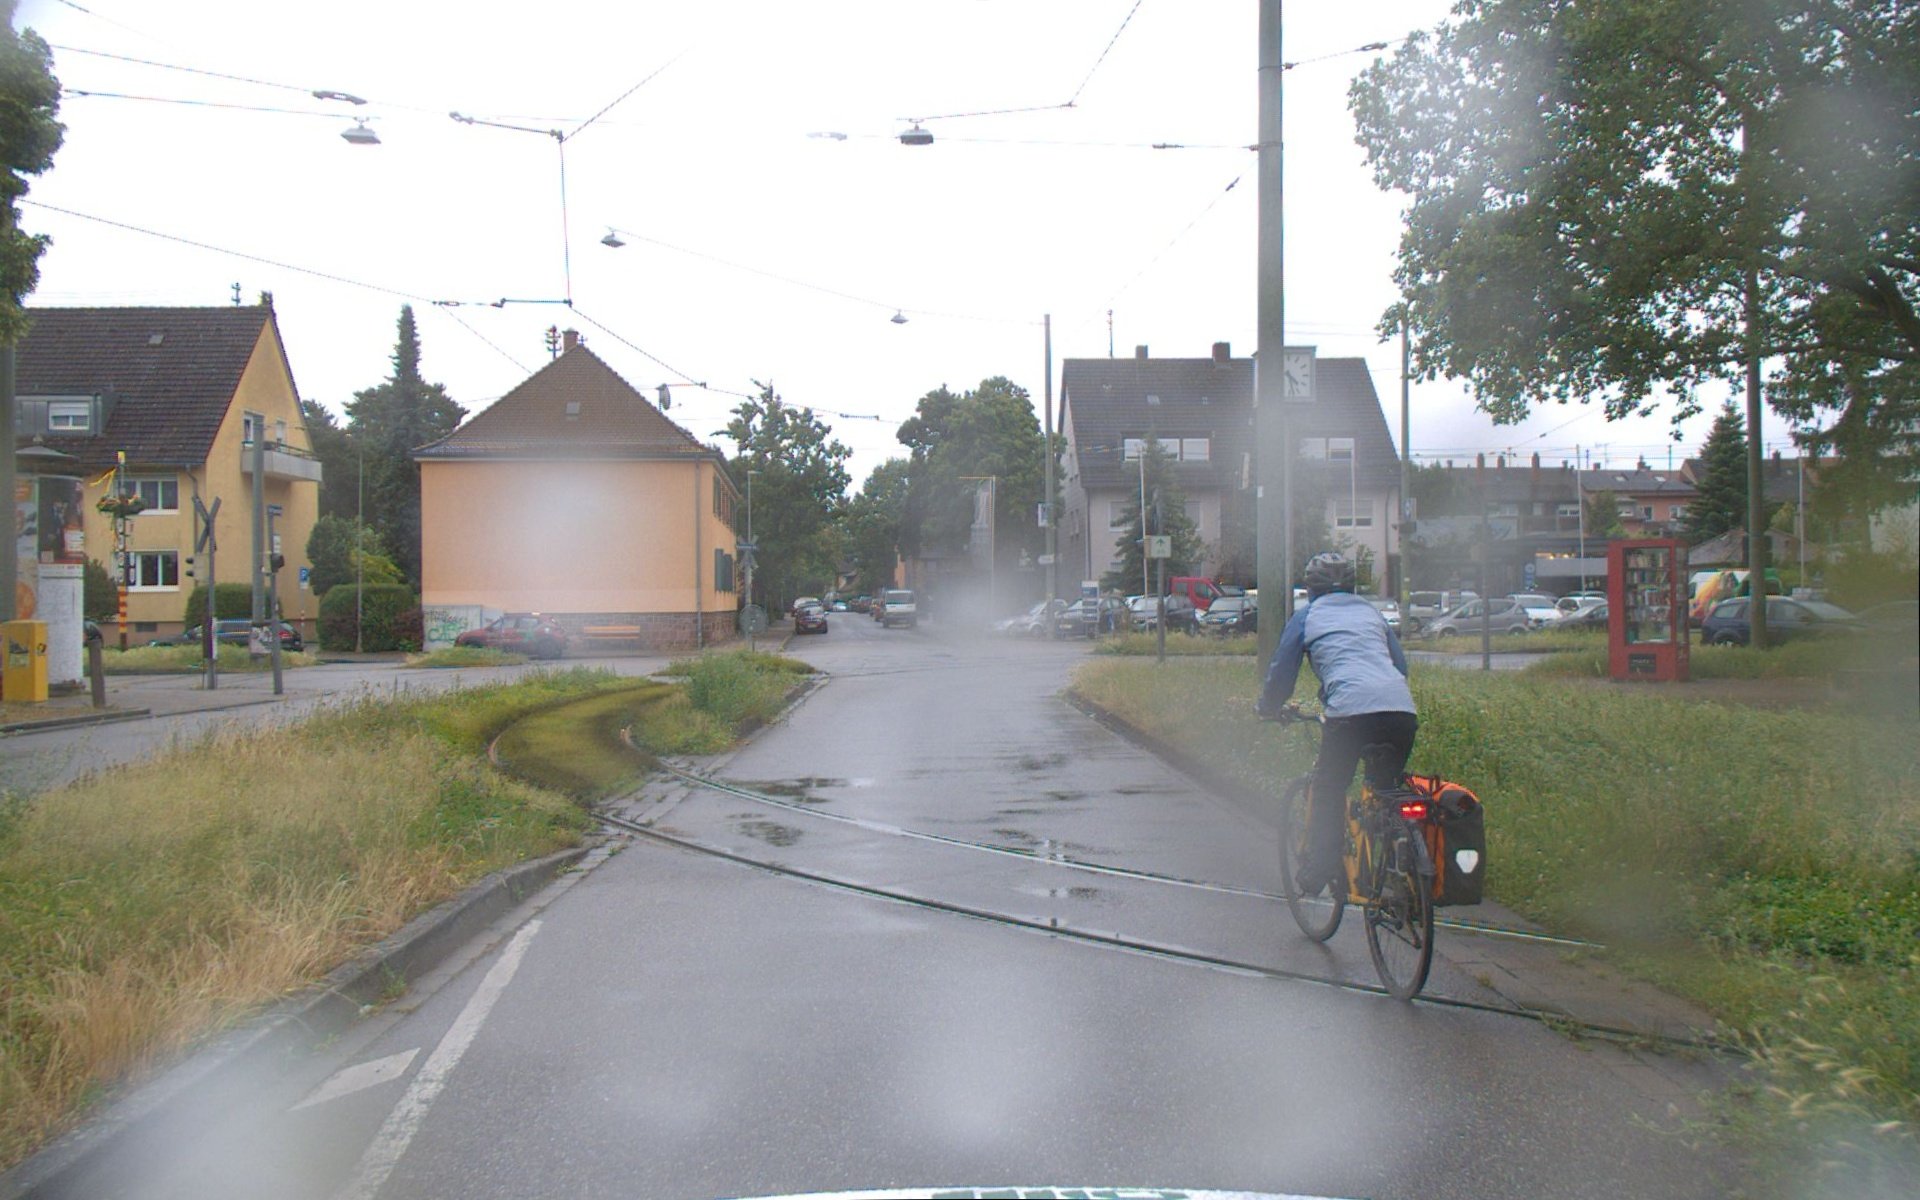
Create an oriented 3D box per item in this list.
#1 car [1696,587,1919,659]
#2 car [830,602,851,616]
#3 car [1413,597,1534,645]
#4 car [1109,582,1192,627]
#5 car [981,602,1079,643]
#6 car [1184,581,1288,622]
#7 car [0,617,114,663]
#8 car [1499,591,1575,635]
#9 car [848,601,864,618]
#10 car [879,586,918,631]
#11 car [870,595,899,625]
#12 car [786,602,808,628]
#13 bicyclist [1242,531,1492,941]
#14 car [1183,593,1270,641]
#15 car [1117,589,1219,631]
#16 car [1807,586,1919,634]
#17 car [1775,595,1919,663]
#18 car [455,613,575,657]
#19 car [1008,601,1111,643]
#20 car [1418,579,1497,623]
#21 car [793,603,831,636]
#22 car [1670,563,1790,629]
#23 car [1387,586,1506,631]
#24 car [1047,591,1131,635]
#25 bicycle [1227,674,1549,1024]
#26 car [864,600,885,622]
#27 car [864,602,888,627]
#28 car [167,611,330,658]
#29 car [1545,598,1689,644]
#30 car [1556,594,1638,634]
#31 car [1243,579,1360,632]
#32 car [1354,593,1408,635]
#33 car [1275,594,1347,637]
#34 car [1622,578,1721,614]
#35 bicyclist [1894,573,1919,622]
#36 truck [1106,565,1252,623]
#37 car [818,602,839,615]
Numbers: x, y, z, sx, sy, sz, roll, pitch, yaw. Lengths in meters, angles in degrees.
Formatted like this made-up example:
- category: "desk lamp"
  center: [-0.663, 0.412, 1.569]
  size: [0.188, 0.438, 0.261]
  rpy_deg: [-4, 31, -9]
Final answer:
- category: "car"
  center: [18.888, 0.499, 36.998]
  size: [1.781, 1.502, 4.130]
  rpy_deg: [-1, 0, -32]
- category: "car"
  center: [-15.908, 1.191, 219.974]
  size: [1.801, 1.727, 4.009]
  rpy_deg: [1, 0, -19]
- category: "car"
  center: [17.416, 0.705, 56.188]
  size: [3.558, 1.531, 1.722]
  rpy_deg: [1, 0, -2]
- category: "car"
  center: [7.294, 0.162, 63.146]
  size: [1.768, 1.606, 3.865]
  rpy_deg: [-2, 0, 29]
- category: "car"
  center: [3.016, 0.958, 71.206]
  size: [3.807, 1.606, 1.795]
  rpy_deg: [-1, 0, -23]
- category: "car"
  center: [12.443, 0.090, 74.774]
  size: [4.342, 1.717, 1.999]
  rpy_deg: [-1, -1, -1]
- category: "car"
  center: [-29.327, 1.244, 52.588]
  size: [3.910, 1.355, 1.757]
  rpy_deg: [1, 0, -6]
- category: "car"
  center: [22.118, 0.491, 63.484]
  size: [1.682, 1.600, 3.617]
  rpy_deg: [1, 0, 1]
- category: "car"
  center: [-12.701, 1.176, 201.859]
  size: [1.793, 2.049, 3.995]
  rpy_deg: [1, 0, -5]
- category: "car"
  center: [-3.739, 0.503, 99.655]
  size: [2.111, 2.617, 4.129]
  rpy_deg: [1, 0, -5]
- category: "car"
  center: [-5.402, 0.700, 118.160]
  size: [1.954, 2.049, 3.997]
  rpy_deg: [1, 0, -3]
- category: "car"
  center: [-13.659, 1.243, 138.814]
  size: [1.793, 2.049, 3.995]
  rpy_deg: [1, 0, -5]
- category: "bicyclist"
  center: [1.601, 0.511, 6.635]
  size: [0.735, 1.511, 0.846]
  rpy_deg: [-2, 0, -1]
- category: "car"
  center: [10.154, 0.633, 62.811]
  size: [1.956, 1.747, 3.993]
  rpy_deg: [-2, -1, 29]
- category: "car"
  center: [8.618, 0.426, 68.323]
  size: [3.882, 1.626, 2.001]
  rpy_deg: [-1, -1, 17]
- category: "car"
  center: [35.550, 0.380, 64.621]
  size: [3.806, 1.592, 1.999]
  rpy_deg: [-4, 0, -4]
- category: "car"
  center: [21.336, 0.643, 37.975]
  size: [1.778, 1.502, 4.506]
  rpy_deg: [-1, 0, -28]
- category: "car"
  center: [-14.632, 1.150, 54.490]
  size: [3.535, 1.362, 1.721]
  rpy_deg: [1, 0, -6]
- category: "car"
  center: [4.073, 0.891, 67.926]
  size: [3.807, 1.606, 1.795]
  rpy_deg: [-1, 0, -23]
- category: "car"
  center: [19.011, 0.035, 63.330]
  size: [1.765, 1.606, 3.871]
  rpy_deg: [-1, 0, -1]
- category: "car"
  center: [-7.788, 1.027, 87.154]
  size: [1.955, 1.646, 3.995]
  rpy_deg: [-1, -1, -5]
- category: "car"
  center: [30.411, -0.142, 65.496]
  size: [2.102, 2.448, 5.146]
  rpy_deg: [1, 0, -3]
- category: "car"
  center: [19.909, 0.364, 67.810]
  size: [4.342, 1.717, 1.760]
  rpy_deg: [-1, -1, -1]
- category: "car"
  center: [5.070, 0.485, 64.498]
  size: [1.768, 1.606, 3.865]
  rpy_deg: [-2, 0, 29]
- category: "bicycle"
  center: [1.621, 0.897, 6.632]
  size: [0.737, 1.091, 1.926]
  rpy_deg: [-2, 0, -1]
- category: "car"
  center: [-8.104, 1.060, 156.405]
  size: [1.793, 2.049, 3.995]
  rpy_deg: [1, 0, -5]
- category: "car"
  center: [-7.039, 1.194, 137.721]
  size: [1.793, 2.049, 3.995]
  rpy_deg: [1, 0, -5]
- category: "car"
  center: [-22.792, 1.088, 53.138]
  size: [4.403, 1.420, 1.965]
  rpy_deg: [0, 0, -5]
- category: "car"
  center: [22.607, 0.704, 56.952]
  size: [4.291, 1.362, 1.720]
  rpy_deg: [3, 0, -7]
- category: "car"
  center: [24.237, 0.519, 63.053]
  size: [1.682, 1.420, 3.842]
  rpy_deg: [1, 0, 0]
- category: "car"
  center: [13.942, 0.250, 67.634]
  size: [4.342, 2.049, 1.999]
  rpy_deg: [-1, -1, -1]
- category: "car"
  center: [15.994, 0.529, 63.006]
  size: [1.788, 1.530, 4.061]
  rpy_deg: [1, 0, 11]
- category: "car"
  center: [13.402, 0.593, 62.995]
  size: [1.791, 1.530, 4.055]
  rpy_deg: [1, 0, 25]
- category: "car"
  center: [33.432, -0.209, 77.719]
  size: [4.376, 1.608, 1.780]
  rpy_deg: [-1, -1, -25]
- category: "bicyclist"
  center: [32.488, -0.099, 56.072]
  size: [1.018, 1.626, 0.949]
  rpy_deg: [-1, 0, -4]
- category: "truck"
  center: [9.447, -0.219, 71.352]
  size: [5.954, 2.312, 2.001]
  rpy_deg: [-1, -1, 17]
- category: "car"
  center: [-17.922, 1.171, 225.298]
  size: [1.801, 1.727, 4.009]
  rpy_deg: [1, 0, -19]
